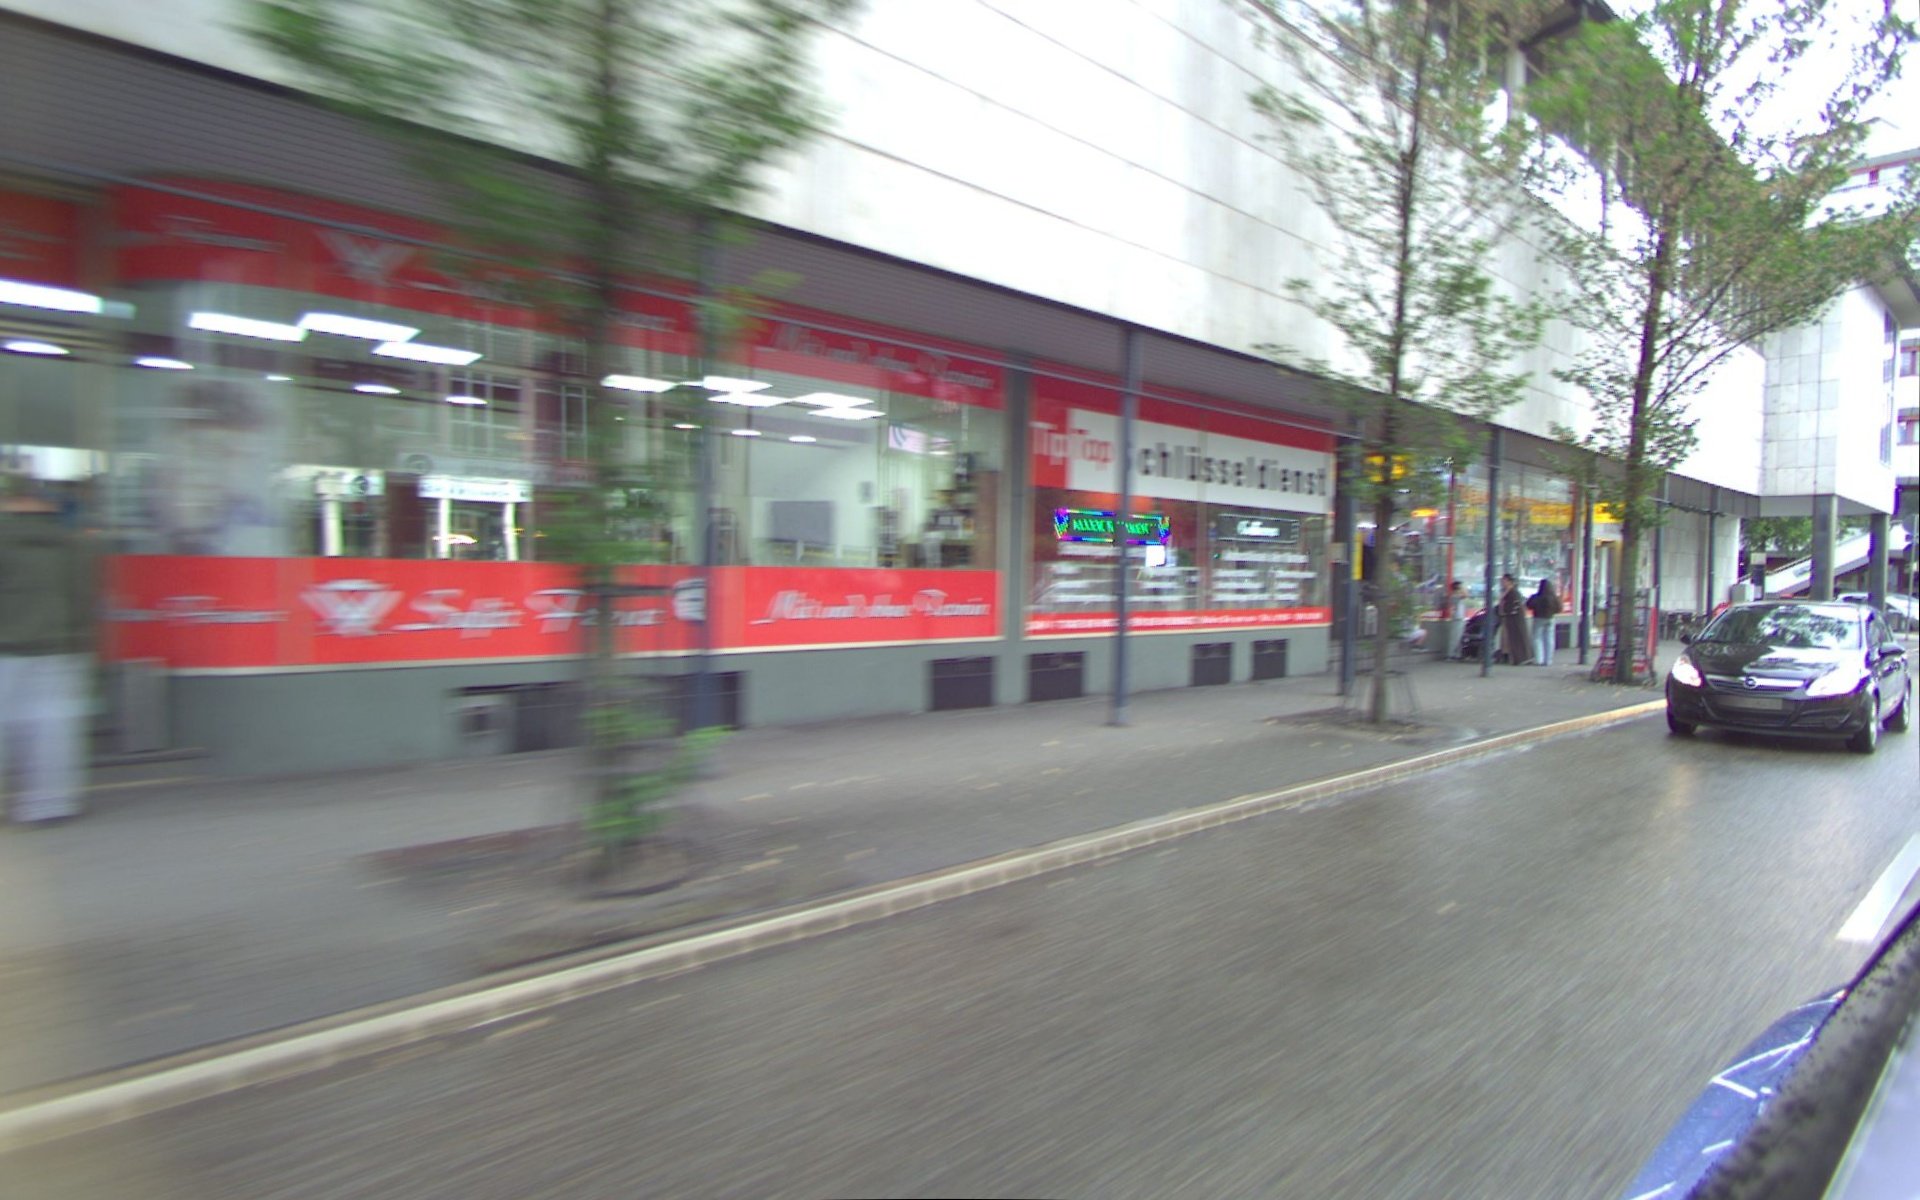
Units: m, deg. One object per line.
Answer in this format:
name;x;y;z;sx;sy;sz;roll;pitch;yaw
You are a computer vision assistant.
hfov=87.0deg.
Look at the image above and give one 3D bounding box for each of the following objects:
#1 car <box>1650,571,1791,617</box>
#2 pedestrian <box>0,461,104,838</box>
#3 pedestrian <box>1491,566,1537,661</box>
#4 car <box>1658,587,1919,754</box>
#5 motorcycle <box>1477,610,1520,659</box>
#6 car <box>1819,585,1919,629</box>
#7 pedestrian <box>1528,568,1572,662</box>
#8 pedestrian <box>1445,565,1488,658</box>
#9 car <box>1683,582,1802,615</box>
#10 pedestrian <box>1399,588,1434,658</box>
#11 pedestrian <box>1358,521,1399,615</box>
car;33.365;-0.317;44.507;1.822;1.781;4.608;-2;3;-37
pedestrian;-4.791;0.236;5.189;0.524;1.842;0.538;1;1;-32
pedestrian;9.502;0.225;17.378;0.501;1.585;0.430;2;2;6
car;9.236;0.620;11.031;3.675;1.475;1.712;0;2;-39
motorcycle;9.310;0.589;17.487;0.904;0.814;0.325;1;2;-41
car;34.826;0.230;37.679;1.959;1.495;4.007;-1;1;-9
pedestrian;10.208;0.250;17.513;0.502;1.585;0.428;2;2;15
pedestrian;8.809;0.189;17.596;0.500;1.585;0.430;1;2;-36
car;37.601;-0.116;48.720;1.756;1.437;4.268;0;2;-40
pedestrian;7.833;0.386;17.377;0.424;1.150;0.507;2;2;14
pedestrian;7.266;-0.558;17.587;0.501;1.585;0.430;2;2;6
